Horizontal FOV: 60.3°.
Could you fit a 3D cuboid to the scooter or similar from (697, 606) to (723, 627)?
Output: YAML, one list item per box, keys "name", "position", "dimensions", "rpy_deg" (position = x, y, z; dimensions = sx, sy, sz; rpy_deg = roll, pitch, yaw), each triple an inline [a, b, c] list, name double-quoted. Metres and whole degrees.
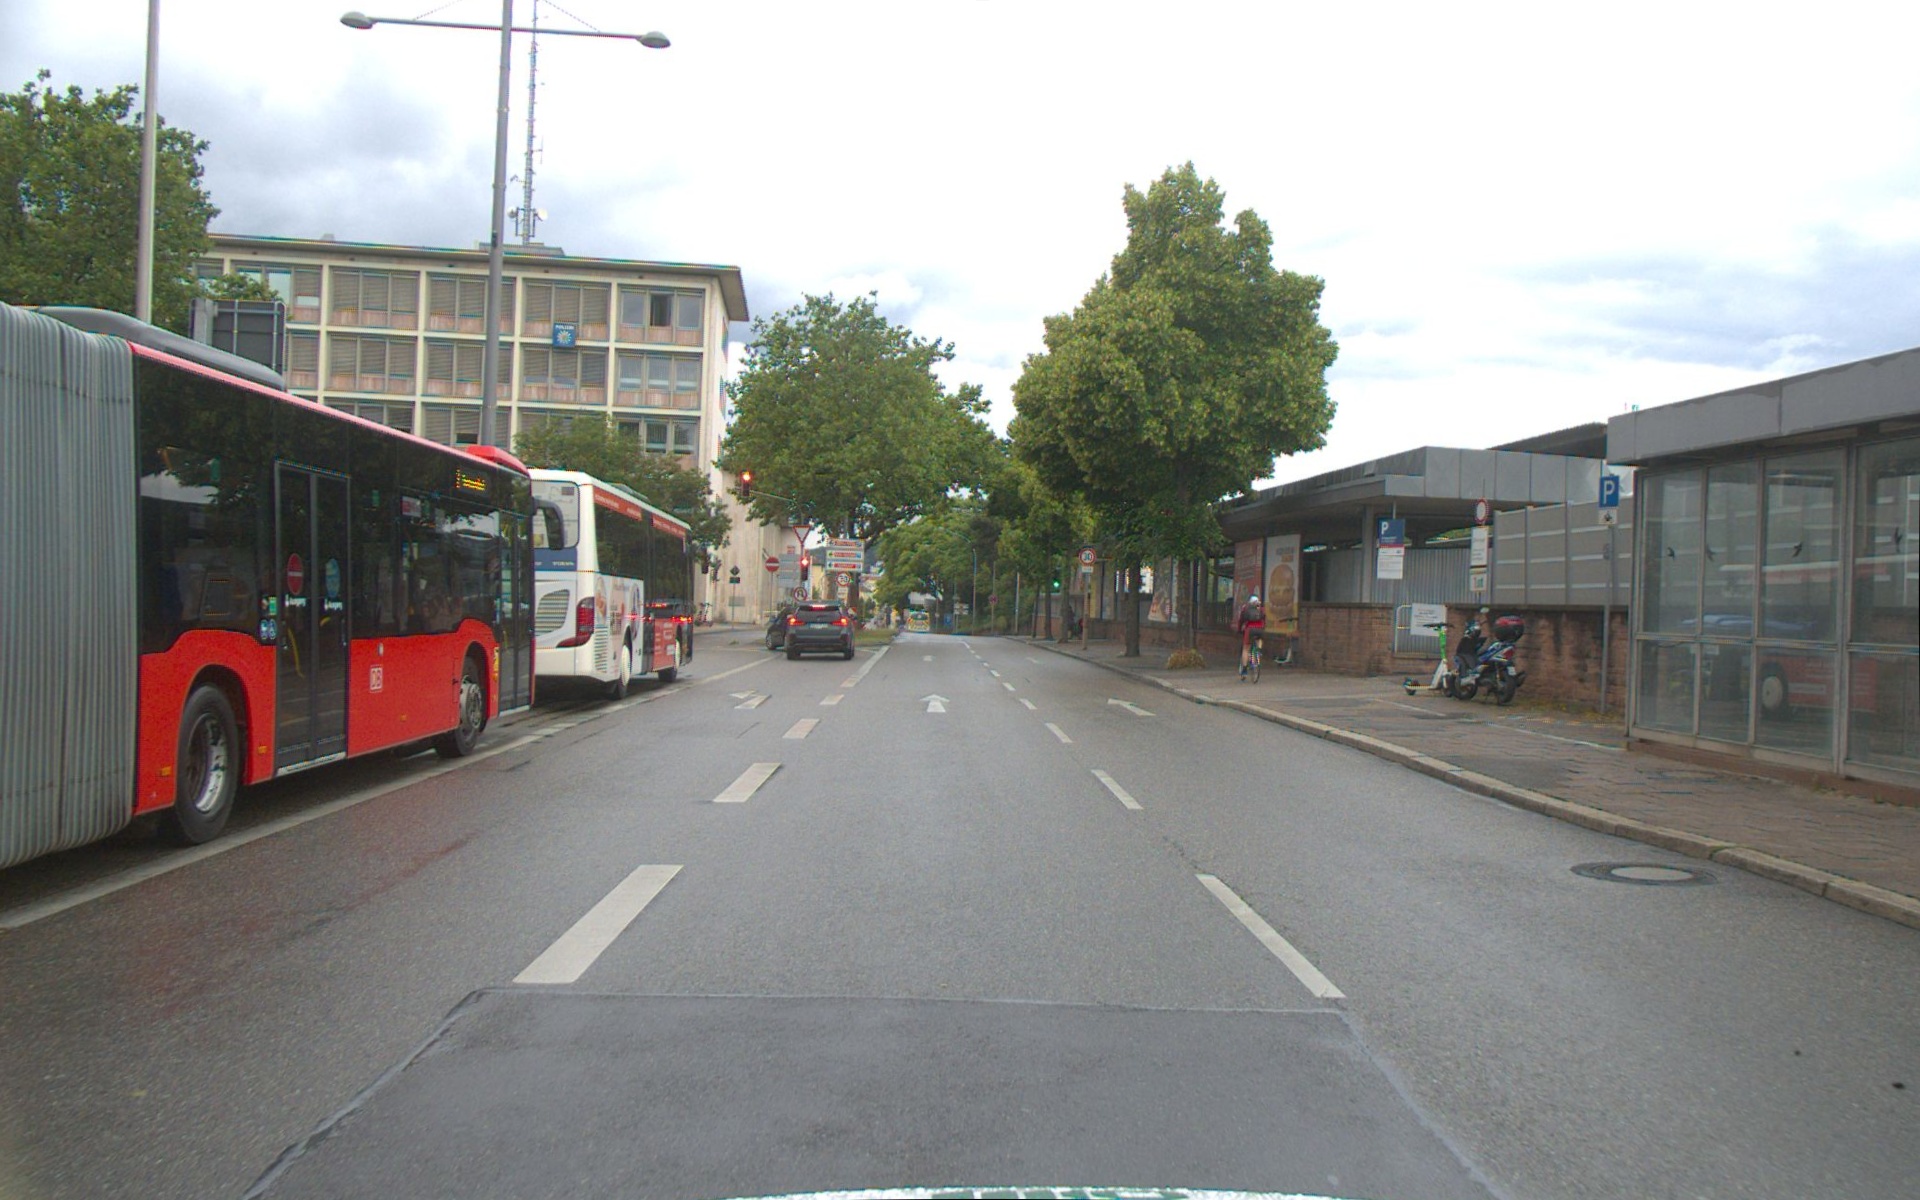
- name: "scooter or similar"
  position: [-14.000, 0.938, 92.729]
  dimensions: [0.596, 1.185, 1.524]
  rpy_deg: [0, -1, 31]

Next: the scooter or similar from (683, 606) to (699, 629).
- name: "scooter or similar"
  position: [-14.011, 0.906, 86.153]
  dimensions: [0.558, 1.213, 1.574]
  rpy_deg: [1, -1, 2]

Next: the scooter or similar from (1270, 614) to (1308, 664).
- name: "scooter or similar"
  position: [7.924, 0.936, 39.867]
  dimensions: [0.483, 1.173, 1.544]
  rpy_deg: [1, -1, -4]

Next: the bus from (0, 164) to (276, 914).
- name: "bus"
  position: [-5.542, -0.274, 5.430]
  dimensions: [2.753, 3.302, 9.909]
  rpy_deg: [1, 0, -2]

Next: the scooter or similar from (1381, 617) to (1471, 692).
- name: "scooter or similar"
  position: [7.589, 0.878, 26.979]
  dimensions: [0.486, 1.173, 1.704]
  rpy_deg: [1, -1, -21]

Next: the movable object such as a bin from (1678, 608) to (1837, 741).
- name: "movable object such as a bin"
  position: [8.527, 0.776, 17.748]
  dimensions: [1.013, 1.361, 1.316]
  rpy_deg: [1, 0, -4]

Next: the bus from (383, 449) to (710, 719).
- name: "bus"
  position: [-6.354, -0.192, 27.912]
  dimensions: [2.896, 3.500, 12.551]
  rpy_deg: [1, 0, -3]

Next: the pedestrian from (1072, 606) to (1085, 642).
- name: "pedestrian"
  position: [5.274, 1.068, 73.464]
  dimensions: [0.448, 1.596, 0.392]
  rpy_deg: [0, 0, 30]

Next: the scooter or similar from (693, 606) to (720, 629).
- name: "scooter or similar"
  position: [-13.802, 0.954, 90.095]
  dimensions: [0.596, 1.213, 1.524]
  rpy_deg: [0, -1, 31]

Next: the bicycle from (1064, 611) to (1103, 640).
- name: "bicycle"
  position: [5.497, 1.150, 73.831]
  dimensions: [1.688, 1.271, 0.485]
  rpy_deg: [0, 0, 30]

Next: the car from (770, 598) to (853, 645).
- name: "car"
  position: [-4.887, 0.690, 53.821]
  dimensions: [1.787, 1.434, 4.392]
  rpy_deg: [1, -1, -18]

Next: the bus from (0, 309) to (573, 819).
- name: "bus"
  position: [-5.789, -0.230, 14.786]
  dimensions: [2.696, 3.187, 8.841]
  rpy_deg: [1, 0, -1]

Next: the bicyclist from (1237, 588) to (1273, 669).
- name: "bicyclist"
  position: [5.789, 0.562, 32.461]
  dimensions: [0.523, 1.565, 0.694]
  rpy_deg: [-1, -1, -4]

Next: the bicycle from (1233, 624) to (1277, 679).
- name: "bicycle"
  position: [5.791, 1.000, 32.522]
  dimensions: [0.437, 1.034, 1.676]
  rpy_deg: [-1, 0, -4]

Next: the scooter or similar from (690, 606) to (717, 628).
- name: "scooter or similar"
  position: [-14.134, 0.934, 91.245]
  dimensions: [0.596, 1.213, 1.524]
  rpy_deg: [0, -1, 31]

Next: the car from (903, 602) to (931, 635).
- name: "car"
  position: [-3.640, 1.563, 139.436]
  dimensions: [2.219, 2.703, 3.997]
  rpy_deg: [1, 0, -3]

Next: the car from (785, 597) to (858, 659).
- name: "car"
  position: [-3.859, 0.769, 46.640]
  dimensions: [1.925, 1.668, 4.355]
  rpy_deg: [1, 0, -3]

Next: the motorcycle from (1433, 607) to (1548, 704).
- name: "motorcycle"
  position: [7.912, 0.797, 24.802]
  dimensions: [0.776, 1.371, 2.455]
  rpy_deg: [1, 0, -4]
